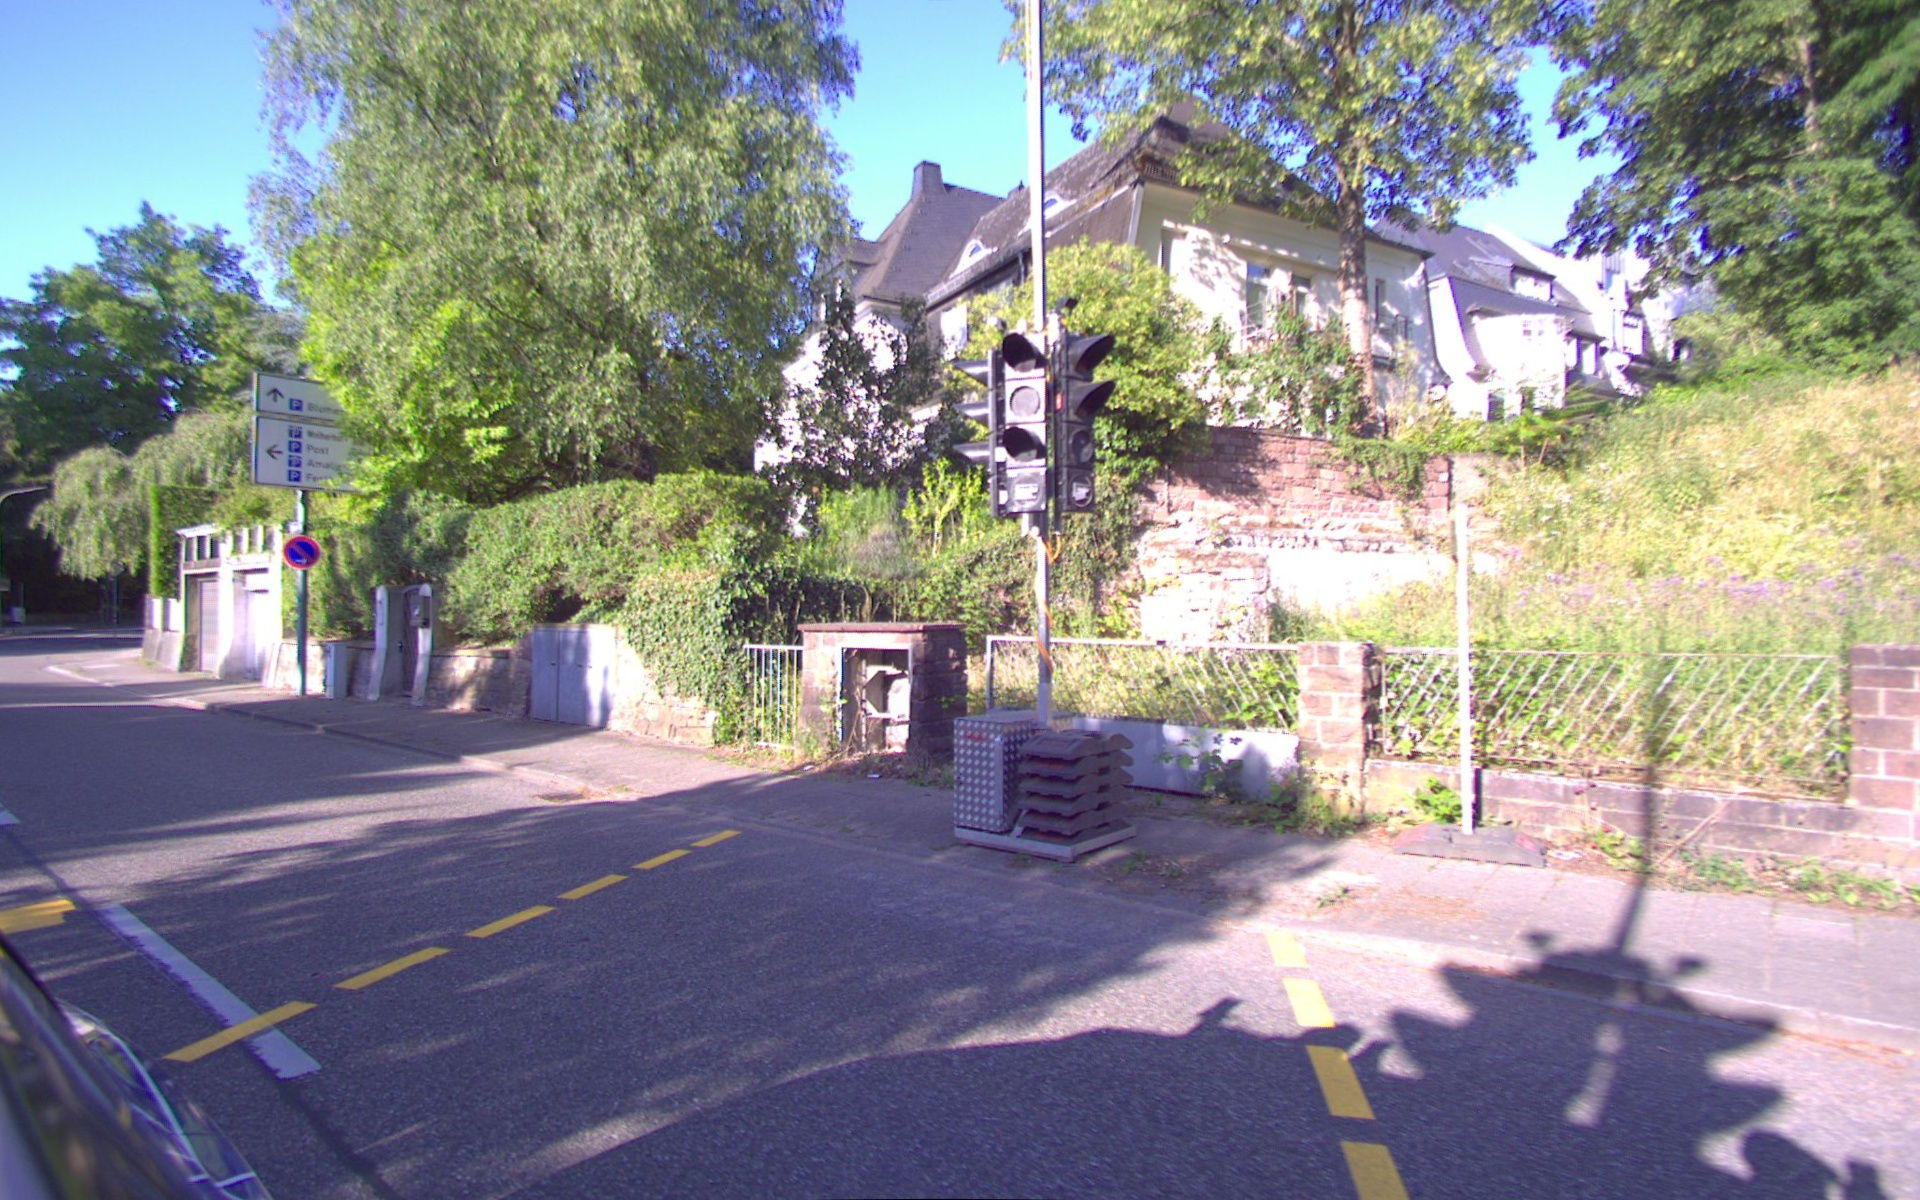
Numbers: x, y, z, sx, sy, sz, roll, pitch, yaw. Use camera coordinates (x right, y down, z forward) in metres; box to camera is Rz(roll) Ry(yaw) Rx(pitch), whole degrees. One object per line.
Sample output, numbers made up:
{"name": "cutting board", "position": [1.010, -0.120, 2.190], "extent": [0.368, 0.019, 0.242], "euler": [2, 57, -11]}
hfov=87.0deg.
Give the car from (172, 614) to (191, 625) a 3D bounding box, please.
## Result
{"name": "car", "position": [-102.009, 2.558, 132.591], "extent": [1.795, 1.393, 3.945], "euler": [4, -2, -36]}
